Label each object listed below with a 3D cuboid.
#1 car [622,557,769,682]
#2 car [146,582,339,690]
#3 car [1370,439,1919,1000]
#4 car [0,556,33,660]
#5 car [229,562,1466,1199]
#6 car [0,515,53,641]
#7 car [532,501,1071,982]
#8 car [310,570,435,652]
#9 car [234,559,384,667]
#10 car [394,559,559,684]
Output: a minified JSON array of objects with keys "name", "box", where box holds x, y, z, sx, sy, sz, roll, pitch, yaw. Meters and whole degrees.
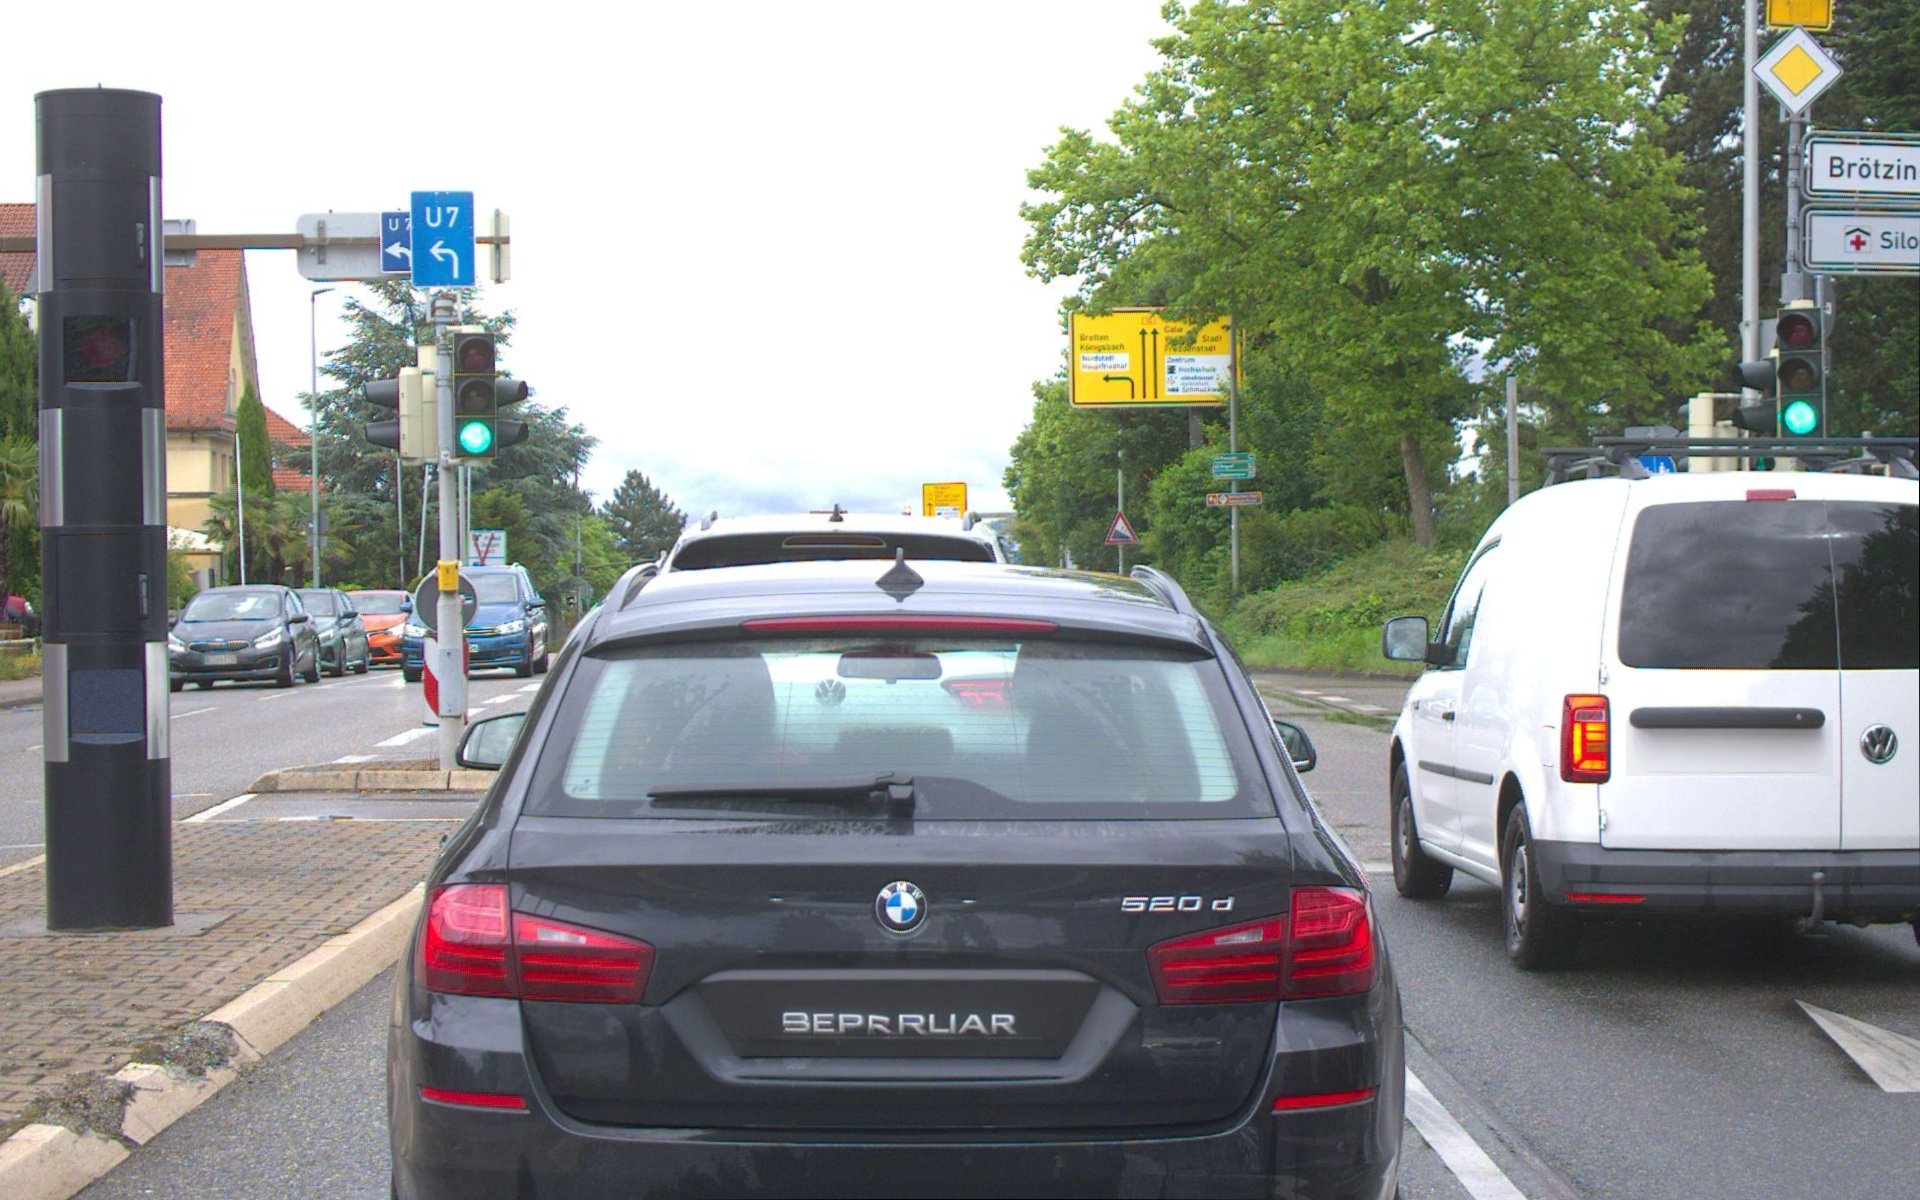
[{"name":"car","box":[-3.664,0.238,48.275,1.839,1.644,4.298,-1,1,-2]},{"name":"car","box":[-10.153,0.479,48.923,1.917,1.375,4.126,-2,1,-1]},{"name":"car","box":[2.765,0.361,13.408,1.764,1.871,3.806,0,1,-1]},{"name":"car","box":[-18.530,0.248,58.374,4.996,1.697,2.000,-3,-2,-28]},{"name":"car","box":[-0.190,0.644,7.296,1.899,1.436,4.000,0,1,0]},{"name":"car","box":[-17.181,-0.279,55.712,4.385,2.007,2.000,-3,1,-29]},{"name":"car","box":[-0.569,0.450,13.976,1.868,1.668,4.000,0,1,0]},{"name":"car","box":[-10.495,0.171,61.626,1.622,1.327,3.947,-2,1,-1]},{"name":"car","box":[-10.497,0.180,55.670,1.676,1.612,4.000,-2,1,-1]},{"name":"car","box":[-6.902,0.272,49.445,1.839,1.644,4.298,-2,1,-2]}]
